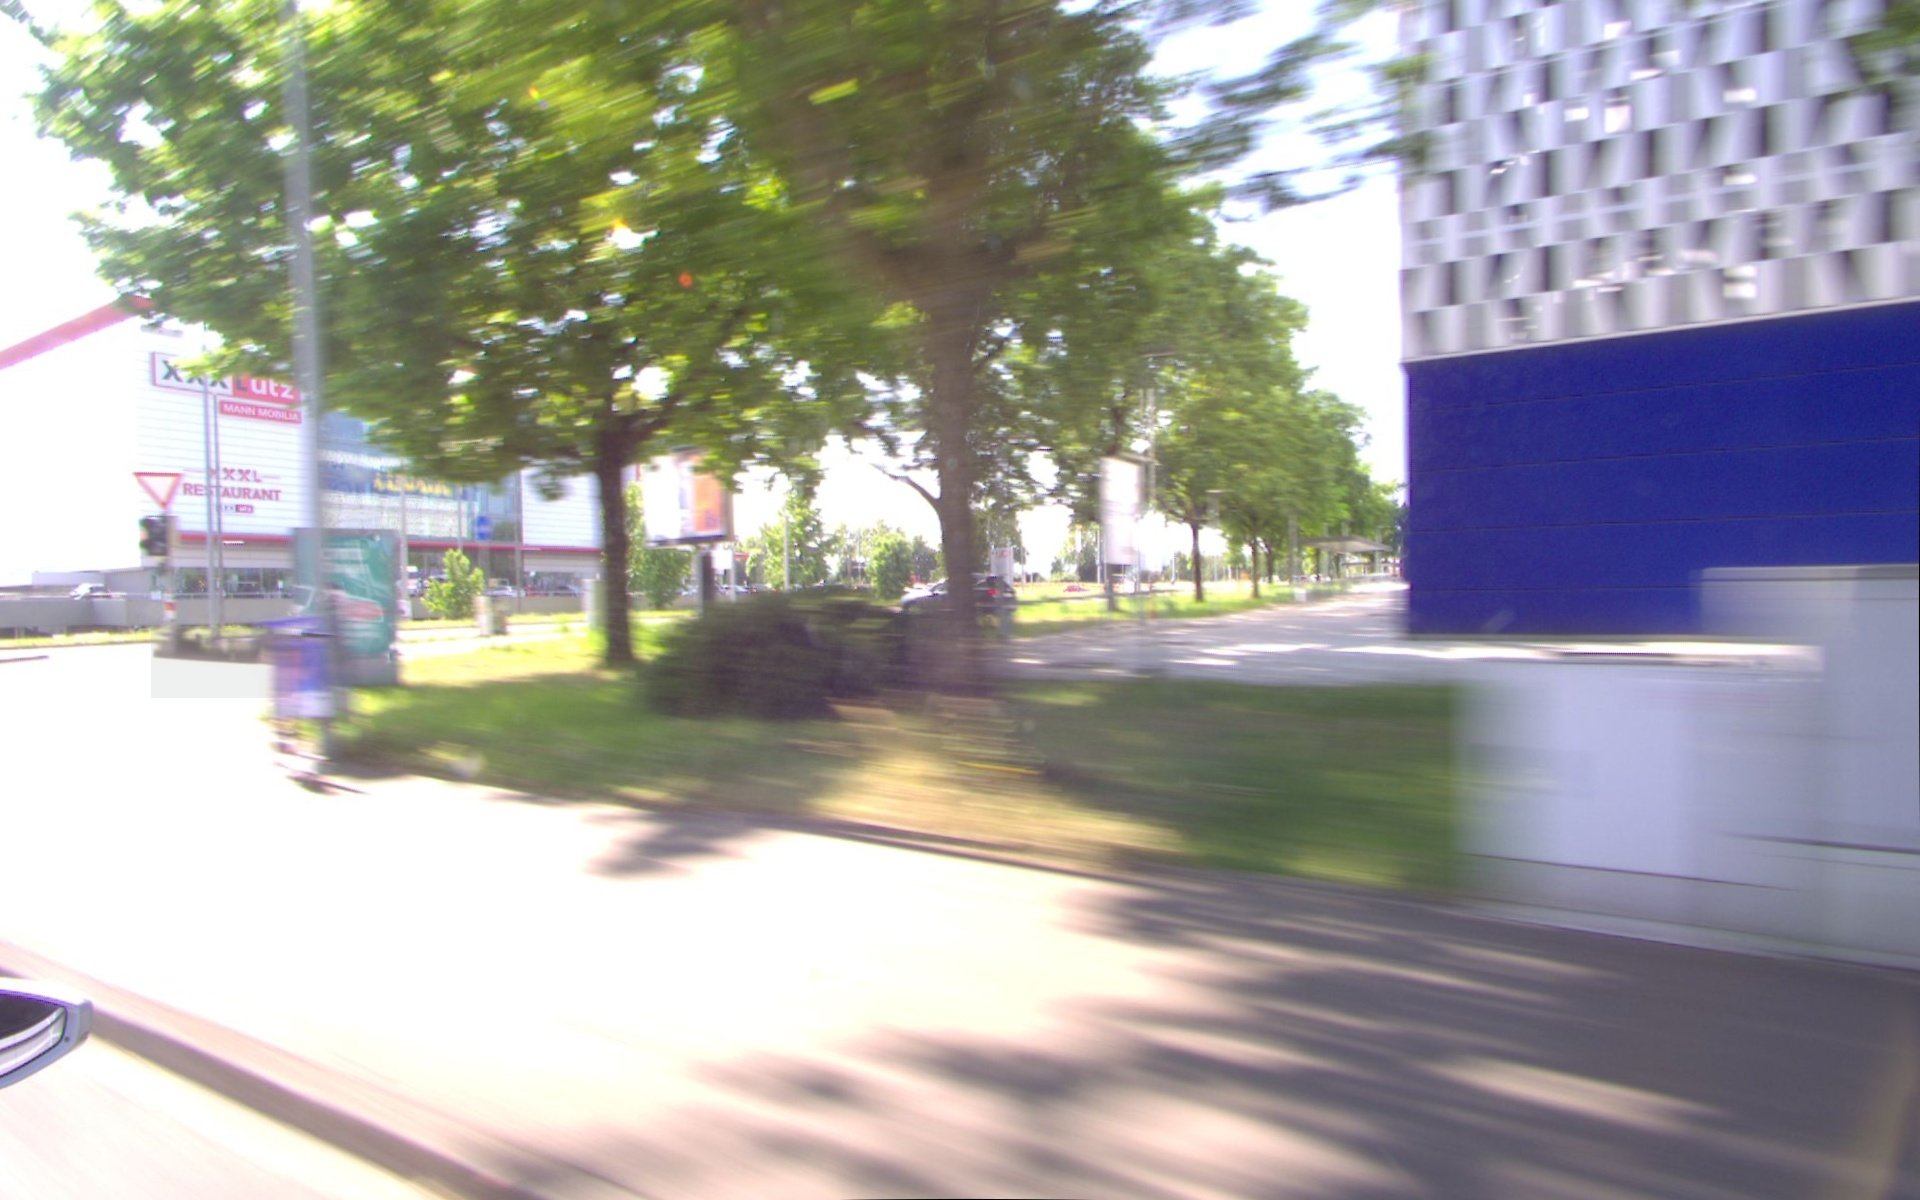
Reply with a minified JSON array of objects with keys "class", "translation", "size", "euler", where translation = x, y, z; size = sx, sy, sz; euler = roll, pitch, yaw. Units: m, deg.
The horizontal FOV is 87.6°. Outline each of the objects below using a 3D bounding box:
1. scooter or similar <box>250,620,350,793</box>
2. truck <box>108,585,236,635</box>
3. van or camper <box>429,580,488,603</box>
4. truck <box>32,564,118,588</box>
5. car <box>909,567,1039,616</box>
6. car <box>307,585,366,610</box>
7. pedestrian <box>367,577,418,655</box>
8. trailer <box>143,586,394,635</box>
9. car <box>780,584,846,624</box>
[{"class":"scooter or similar","translation":[-5.213,0.792,7.888],"size":[1.297,1.250,0.349],"euler":[0,2,44]},{"class":"truck","translation":[-41.011,0.570,52.254],"size":[1.971,2.455,4.872],"euler":[1,-1,33]},{"class":"van or camper","translation":[-49.000,-0.815,97.940],"size":[1.969,2.040,4.980],"euler":[1,-1,29]},{"class":"truck","translation":[-85.261,-2.315,96.553],"size":[1.971,2.040,5.899],"euler":[1,-1,32]},{"class":"car","translation":[0.461,-0.261,32.777],"size":[3.867,1.509,1.784],"euler":[-1,1,29]},{"class":"car","translation":[-55.263,-0.191,88.784],"size":[1.969,2.040,3.984],"euler":[1,-1,29]},{"class":"pedestrian","translation":[-13.224,0.375,23.337],"size":[0.791,1.794,0.627],"euler":[-1,2,20]},{"class":"trailer","translation":[-38.406,0.693,56.455],"size":[1.971,2.501,11.852],"euler":[1,-1,32]},{"class":"car","translation":[-5.940,0.157,40.104],"size":[1.762,1.509,3.915],"euler":[-1,0,-21]}]
